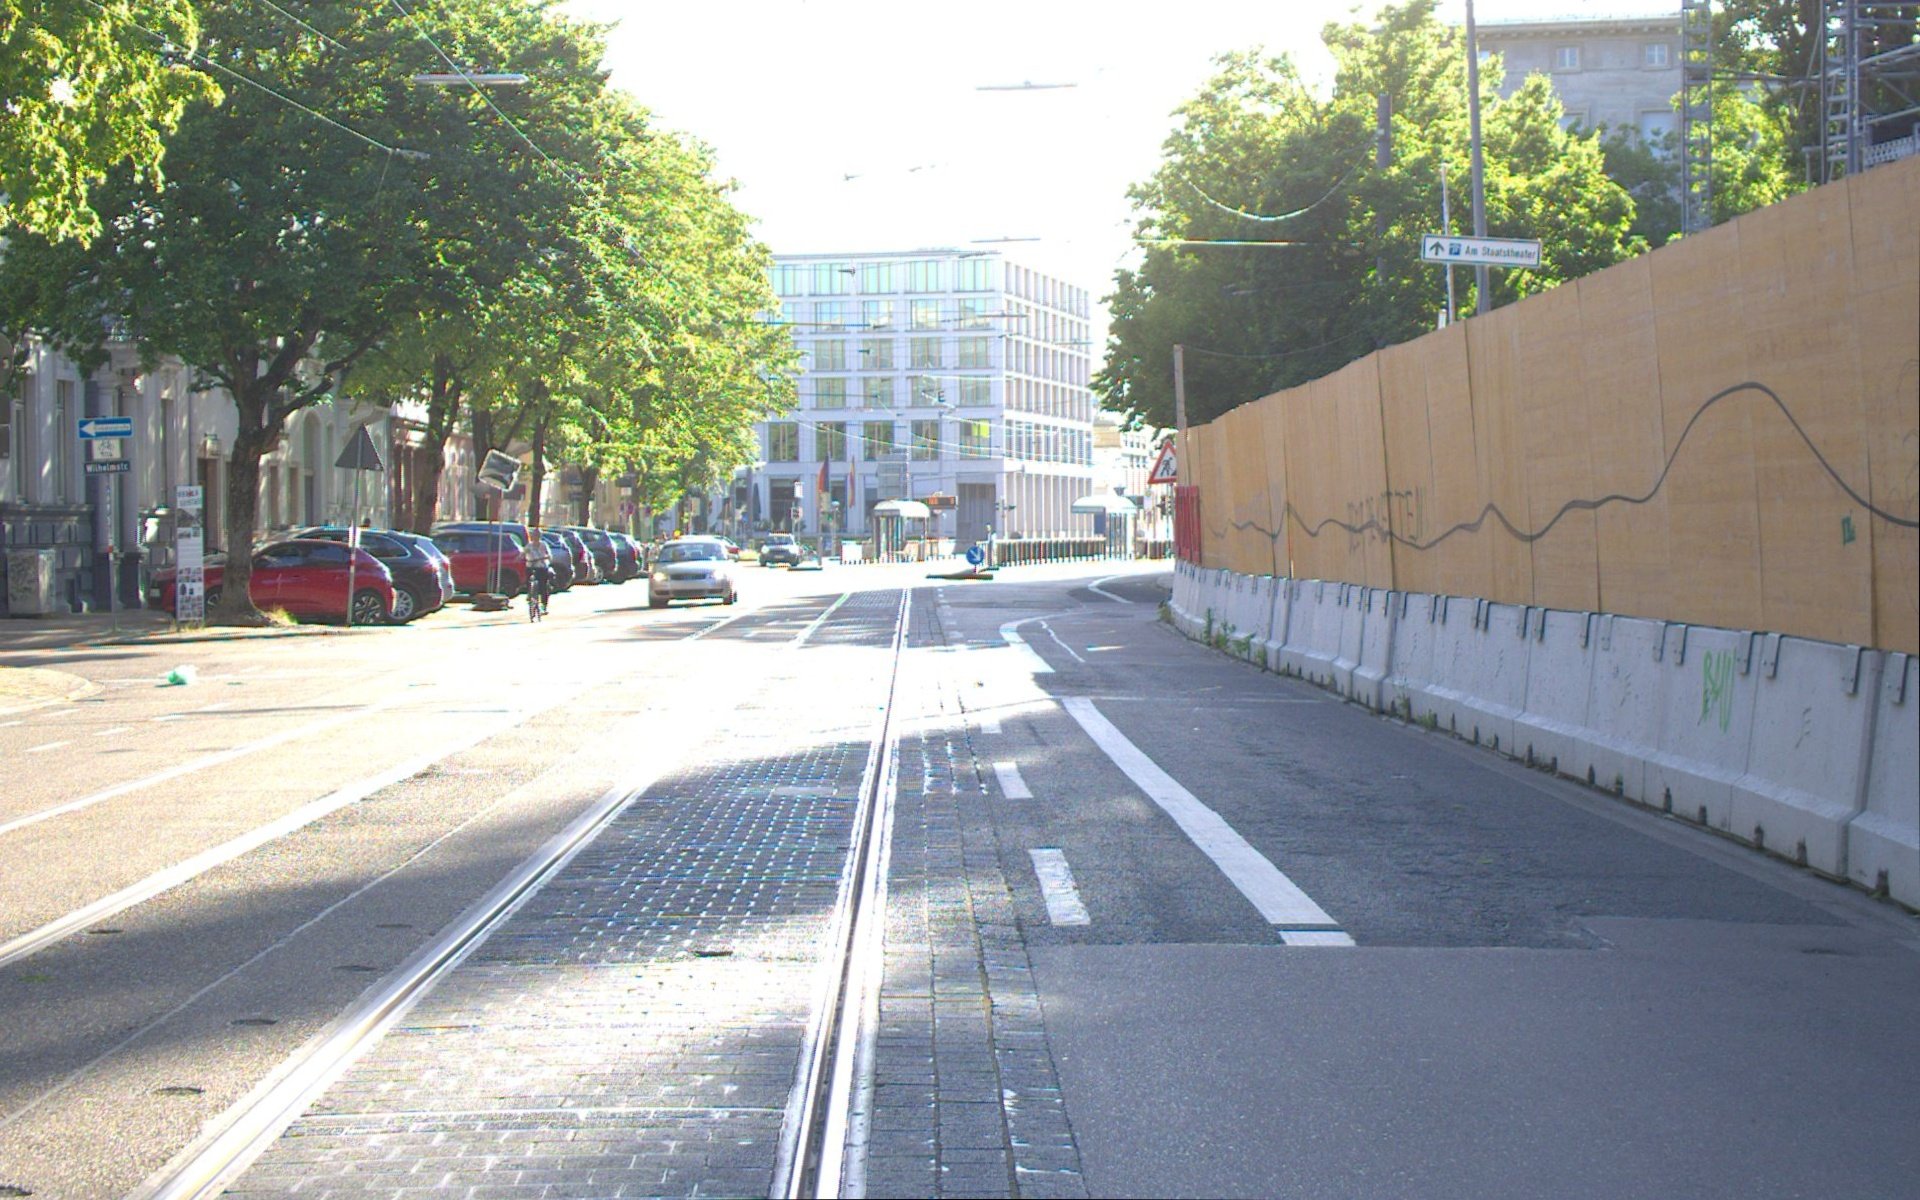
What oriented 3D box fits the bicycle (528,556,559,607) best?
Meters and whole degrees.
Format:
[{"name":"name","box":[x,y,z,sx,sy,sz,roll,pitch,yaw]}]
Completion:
[{"name":"bicycle","box":[-7.559,-0.337,62.459,0.449,0.878,1.901,-1,2,-4]}]

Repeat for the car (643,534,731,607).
[{"name":"car","box":[-5.777,-0.650,73.051,1.709,1.431,4.172,-1,2,-3]}]

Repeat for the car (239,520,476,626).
[{"name":"car","box":[-10.410,-0.491,59.485,3.674,1.715,1.611,-2,2,-35]}]

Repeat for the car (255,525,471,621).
[{"name":"car","box":[-11.312,-0.533,65.270,3.674,1.715,1.611,-2,2,-35]}]

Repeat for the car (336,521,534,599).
[{"name":"car","box":[-11.935,-0.918,78.209,4.159,1.715,1.584,-1,1,-28]}]

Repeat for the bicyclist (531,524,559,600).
[{"name":"bicyclist","box":[-7.550,-0.697,62.544,0.457,1.373,0.641,-1,1,-4]}]

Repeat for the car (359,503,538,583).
[{"name":"car","box":[-12.111,-1.343,81.456,3.828,1.826,1.732,0,1,-30]}]

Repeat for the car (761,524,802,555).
[{"name":"car","box":[-8.879,-3.019,171.065,1.558,1.525,4.000,-1,1,4]}]

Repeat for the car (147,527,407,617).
[{"name":"car","box":[-11.329,-0.461,57.089,3.901,1.448,1.638,0,1,-34]}]
